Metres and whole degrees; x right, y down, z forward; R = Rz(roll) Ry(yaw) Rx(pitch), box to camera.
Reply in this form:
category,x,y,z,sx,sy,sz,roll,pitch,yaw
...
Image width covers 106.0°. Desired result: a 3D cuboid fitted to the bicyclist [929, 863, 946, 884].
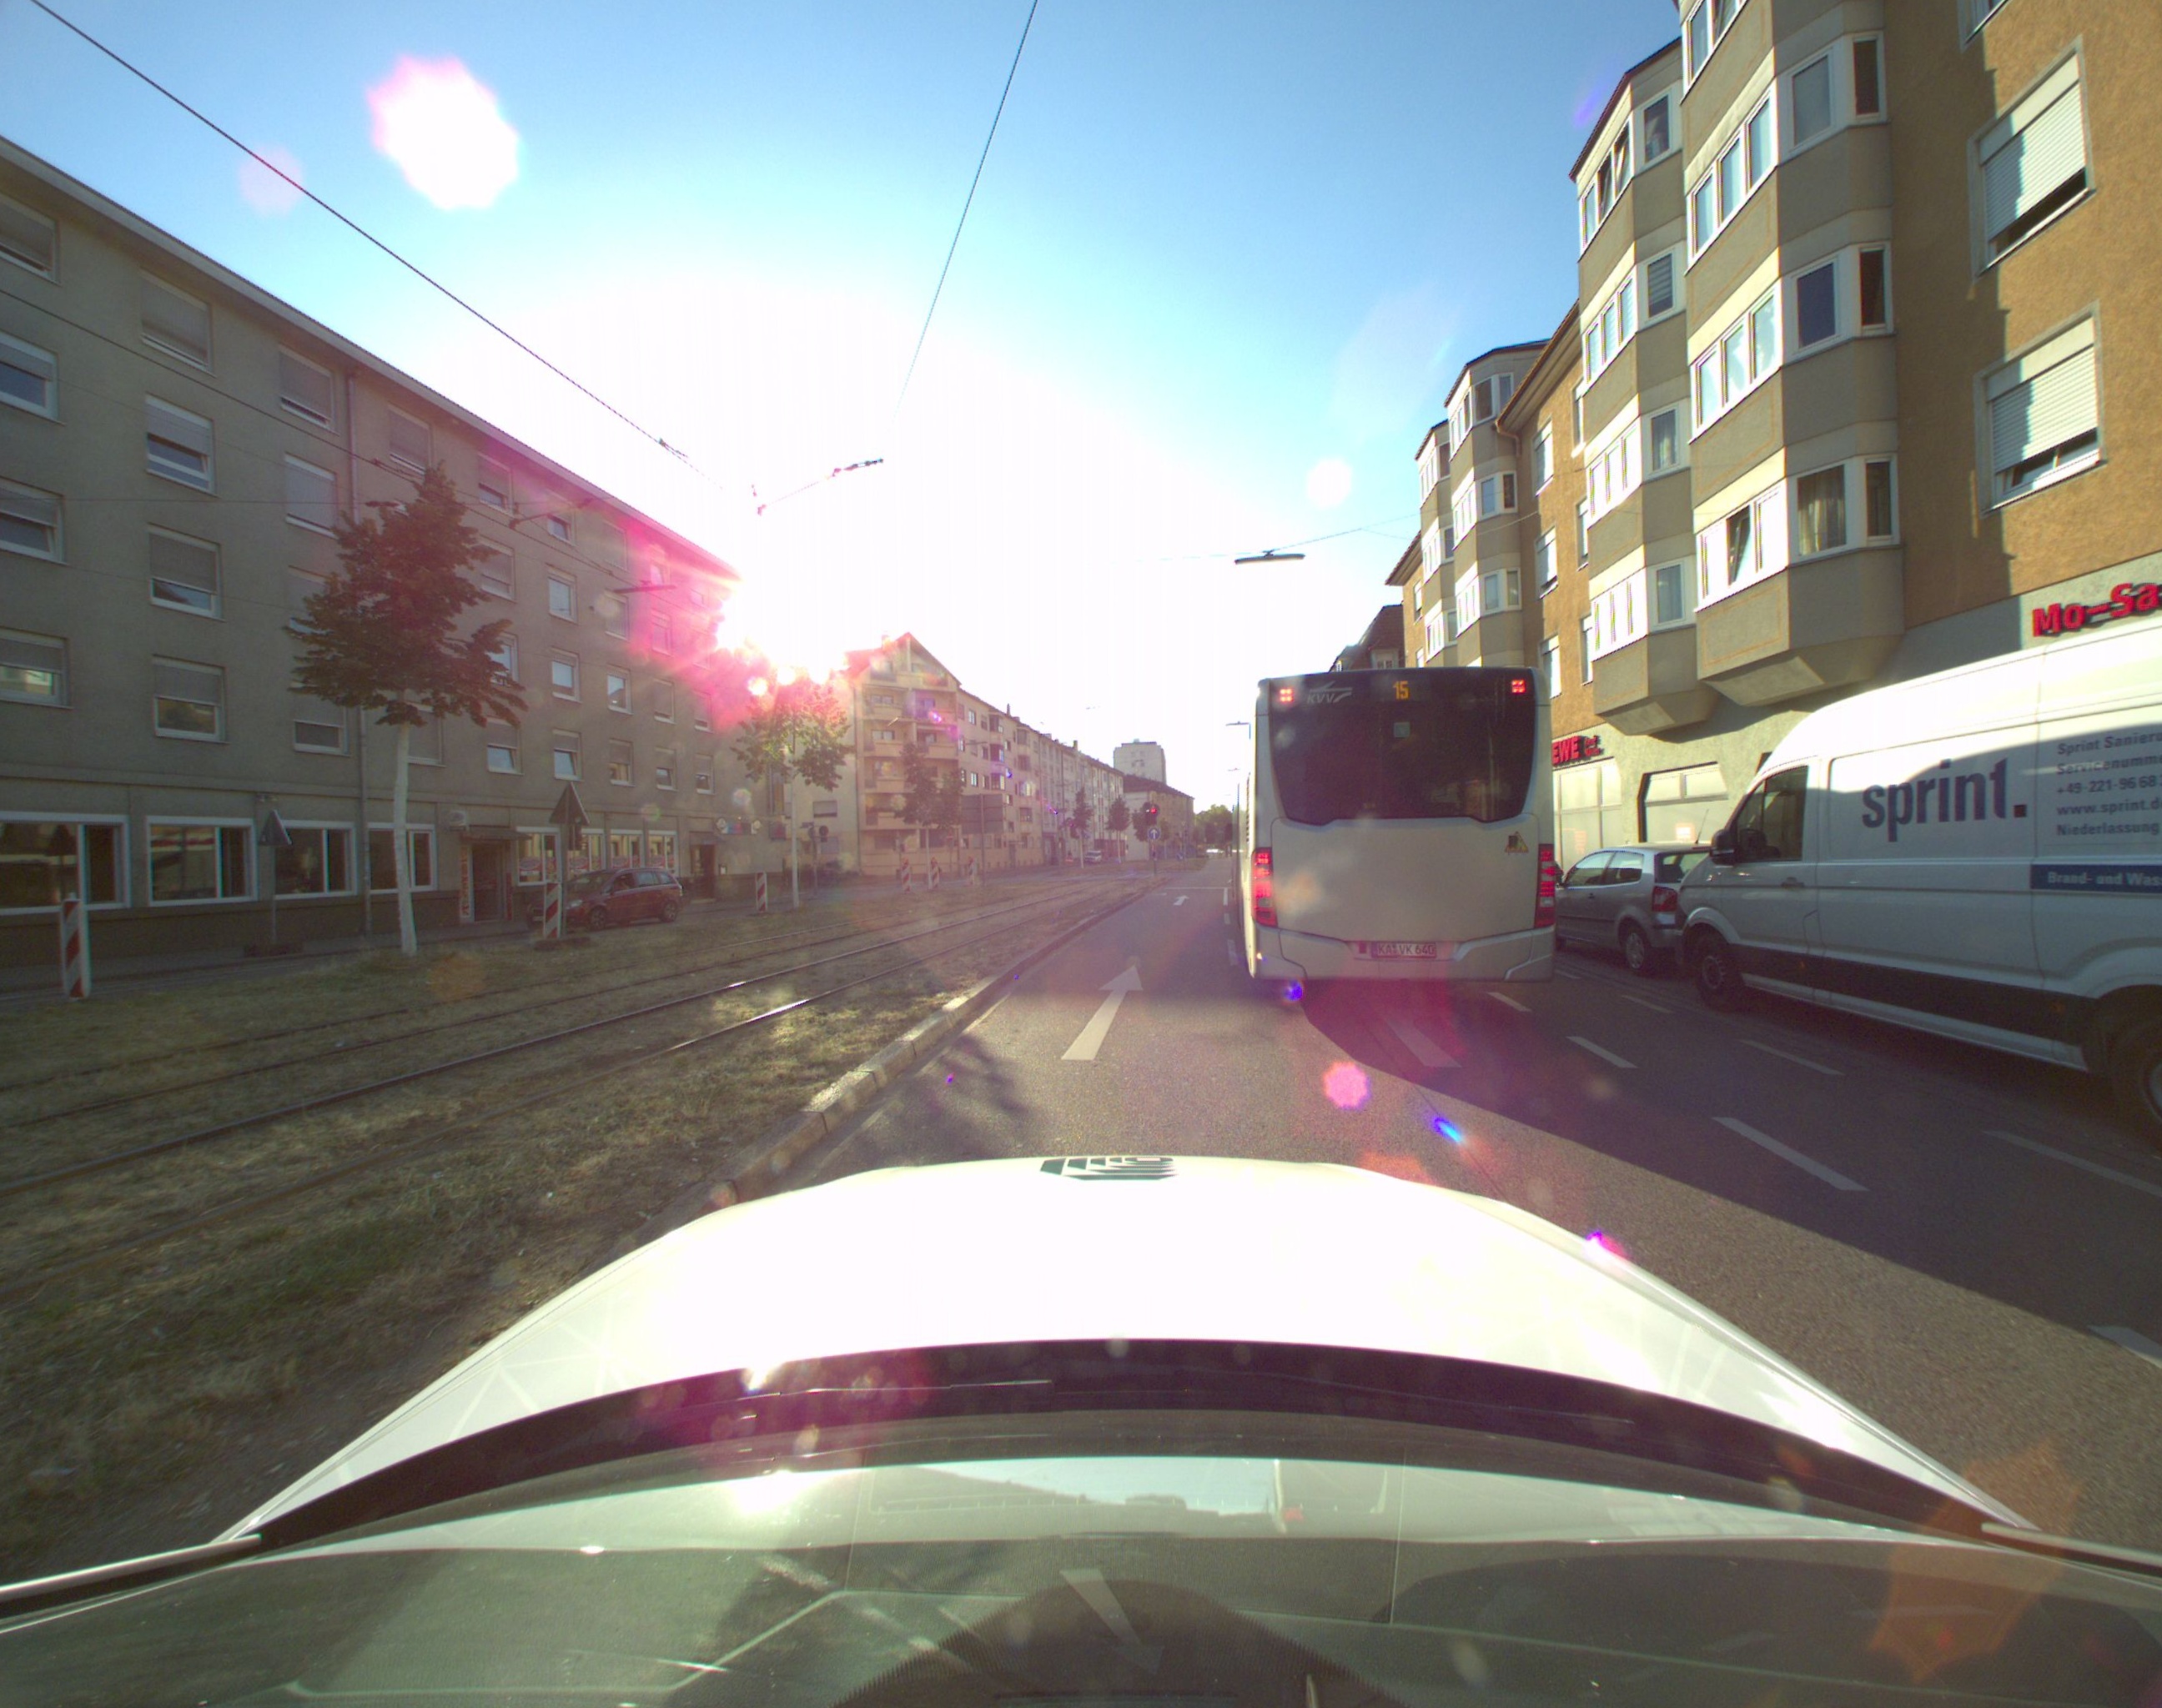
category,x,y,z,sx,sy,sz,roll,pitch,yaw
bicyclist,-10.069,1.368,57.208,0.522,1.447,0.971,-3,0,40

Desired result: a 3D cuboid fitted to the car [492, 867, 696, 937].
category,x,y,z,sx,sy,sz,roll,pitch,yaw
car,-12.906,1.196,22.049,1.800,1.560,4.950,-3,-1,12

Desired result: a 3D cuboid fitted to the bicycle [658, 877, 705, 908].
category,x,y,z,sx,sy,sz,roll,pitch,yaw
bicycle,-15.872,1.520,32.399,0.742,1.115,1.783,-2,0,10

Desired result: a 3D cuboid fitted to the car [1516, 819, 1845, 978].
category,x,y,z,sx,sy,sz,roll,pitch,yaw
car,7.191,0.462,10.320,1.827,1.588,3.796,-2,0,10

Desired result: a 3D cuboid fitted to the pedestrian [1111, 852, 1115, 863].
category,x,y,z,sx,sy,sz,roll,pitch,yaw
pedestrian,5.072,0.515,127.247,0.492,1.658,0.410,-3,0,10

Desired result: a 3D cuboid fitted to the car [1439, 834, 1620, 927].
category,x,y,z,sx,sy,sz,roll,pitch,yaw
car,8.648,0.446,16.157,1.827,1.536,4.242,-2,0,10

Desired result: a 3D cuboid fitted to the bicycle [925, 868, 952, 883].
category,x,y,z,sx,sy,sz,roll,pitch,yaw
bicycle,-10.032,1.498,57.322,0.522,0.984,1.895,-3,0,40

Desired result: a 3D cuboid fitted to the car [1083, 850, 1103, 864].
category,x,y,z,sx,sy,sz,roll,pitch,yaw
car,1.708,0.382,112.778,1.800,1.797,4.259,-5,0,12

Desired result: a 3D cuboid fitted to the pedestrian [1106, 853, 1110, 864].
category,x,y,z,sx,sy,sz,roll,pitch,yaw
pedestrian,4.234,0.722,127.008,0.492,1.658,0.410,-3,0,10

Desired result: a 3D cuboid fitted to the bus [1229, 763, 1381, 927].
category,x,y,z,sx,sy,sz,roll,pitch,yaw
bus,5.016,-0.184,19.872,2.722,3.056,9.157,-1,0,10

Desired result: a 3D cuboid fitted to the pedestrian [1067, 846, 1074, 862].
category,x,y,z,sx,sy,sz,roll,pitch,yaw
pedestrian,-1.352,0.031,107.099,0.782,2.013,0.892,-2,0,7

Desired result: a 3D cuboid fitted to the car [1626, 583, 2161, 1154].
category,x,y,z,sx,sy,sz,roll,pitch,yaw
car,6.083,-0.002,5.161,2.004,2.551,5.801,-6,-1,10

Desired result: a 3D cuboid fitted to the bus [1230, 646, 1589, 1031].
category,x,y,z,sx,sy,sz,roll,pitch,yaw
bus,3.444,-0.133,11.052,2.722,3.056,8.878,-1,0,10
